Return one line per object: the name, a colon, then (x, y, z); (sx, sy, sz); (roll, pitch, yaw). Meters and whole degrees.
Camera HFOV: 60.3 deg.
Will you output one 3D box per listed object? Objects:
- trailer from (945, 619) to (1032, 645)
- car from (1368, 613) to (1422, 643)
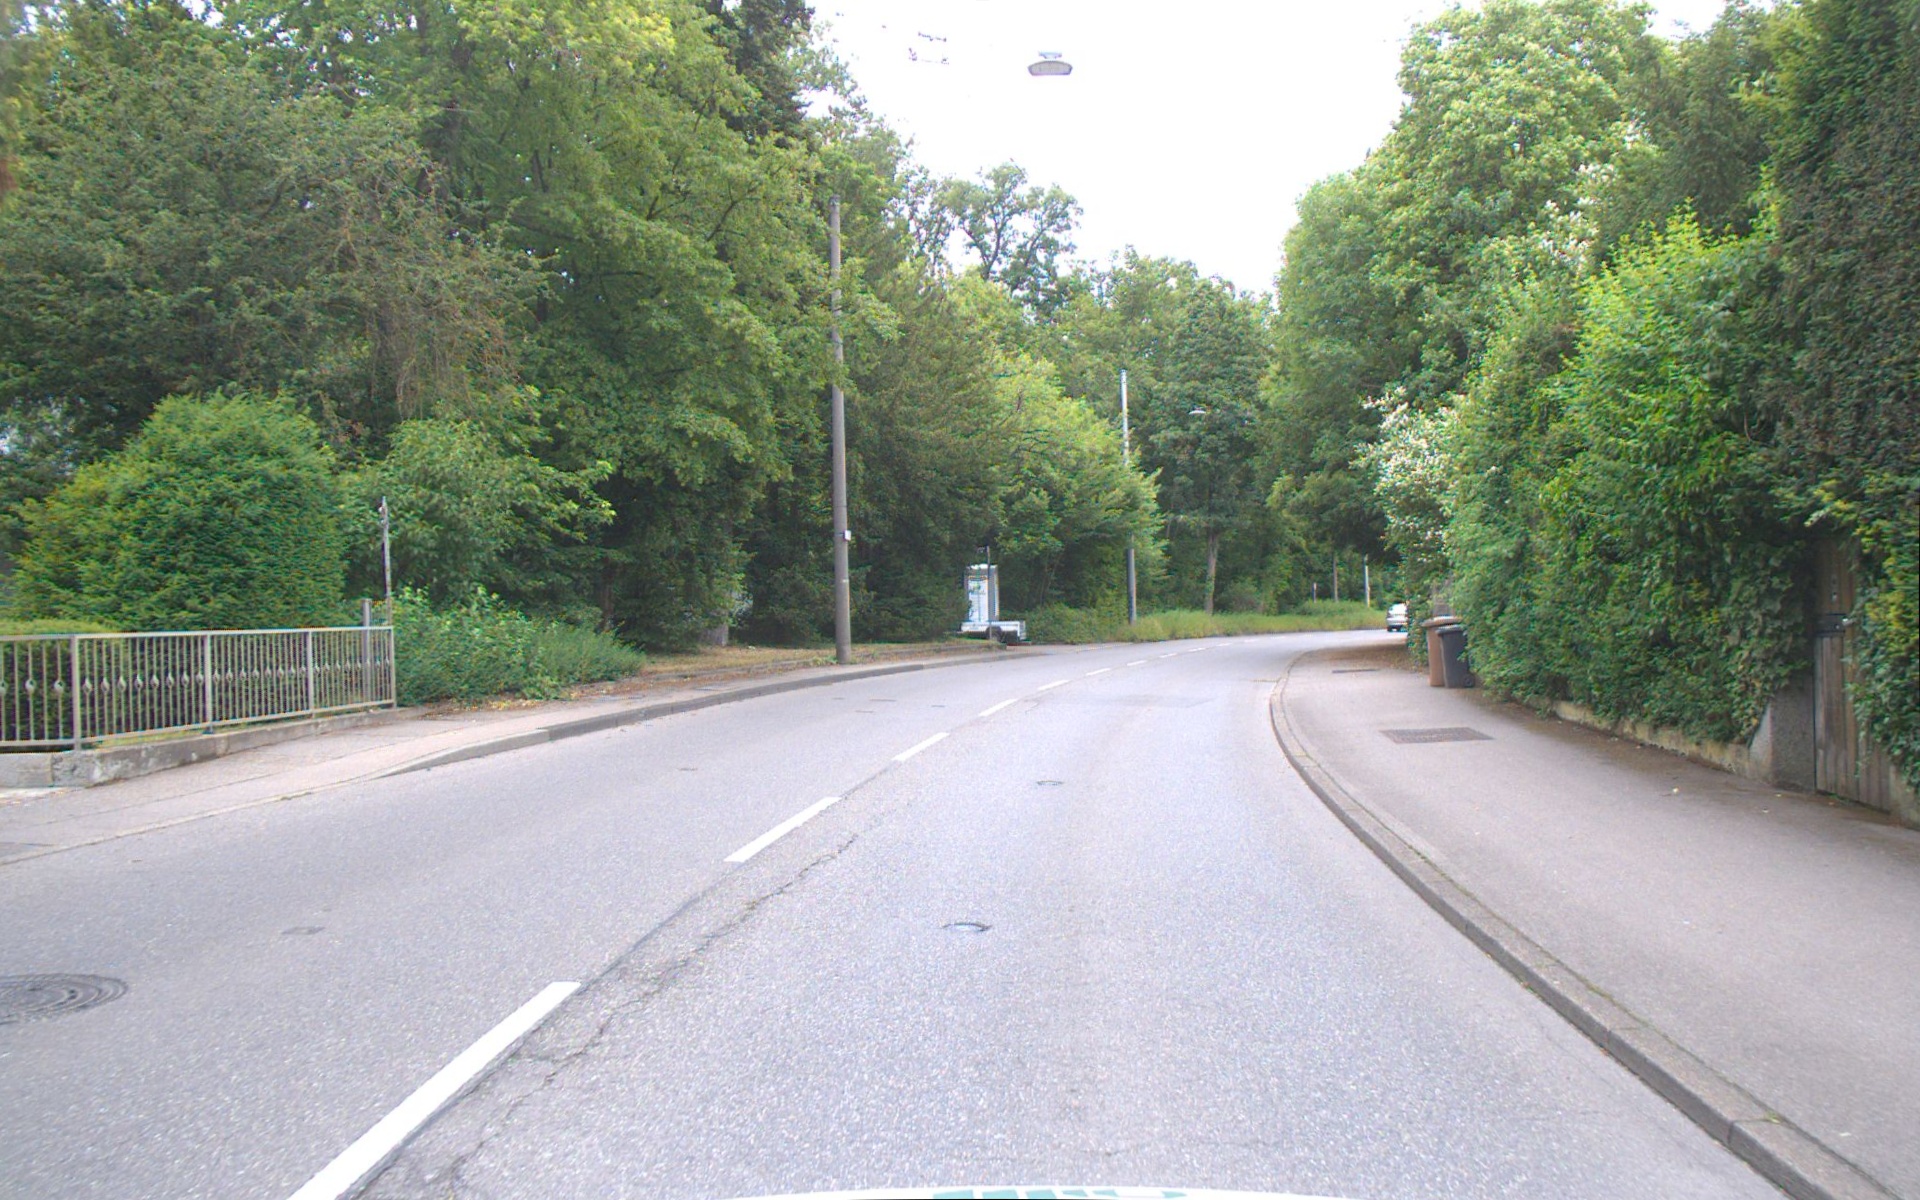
trailer: (1.000, 1.119, 57.460); (2.892, 0.843, 1.476); (-1, -1, 5)
car: (22.942, 1.448, 87.155); (1.955, 1.512, 3.995); (-2, -1, 27)
